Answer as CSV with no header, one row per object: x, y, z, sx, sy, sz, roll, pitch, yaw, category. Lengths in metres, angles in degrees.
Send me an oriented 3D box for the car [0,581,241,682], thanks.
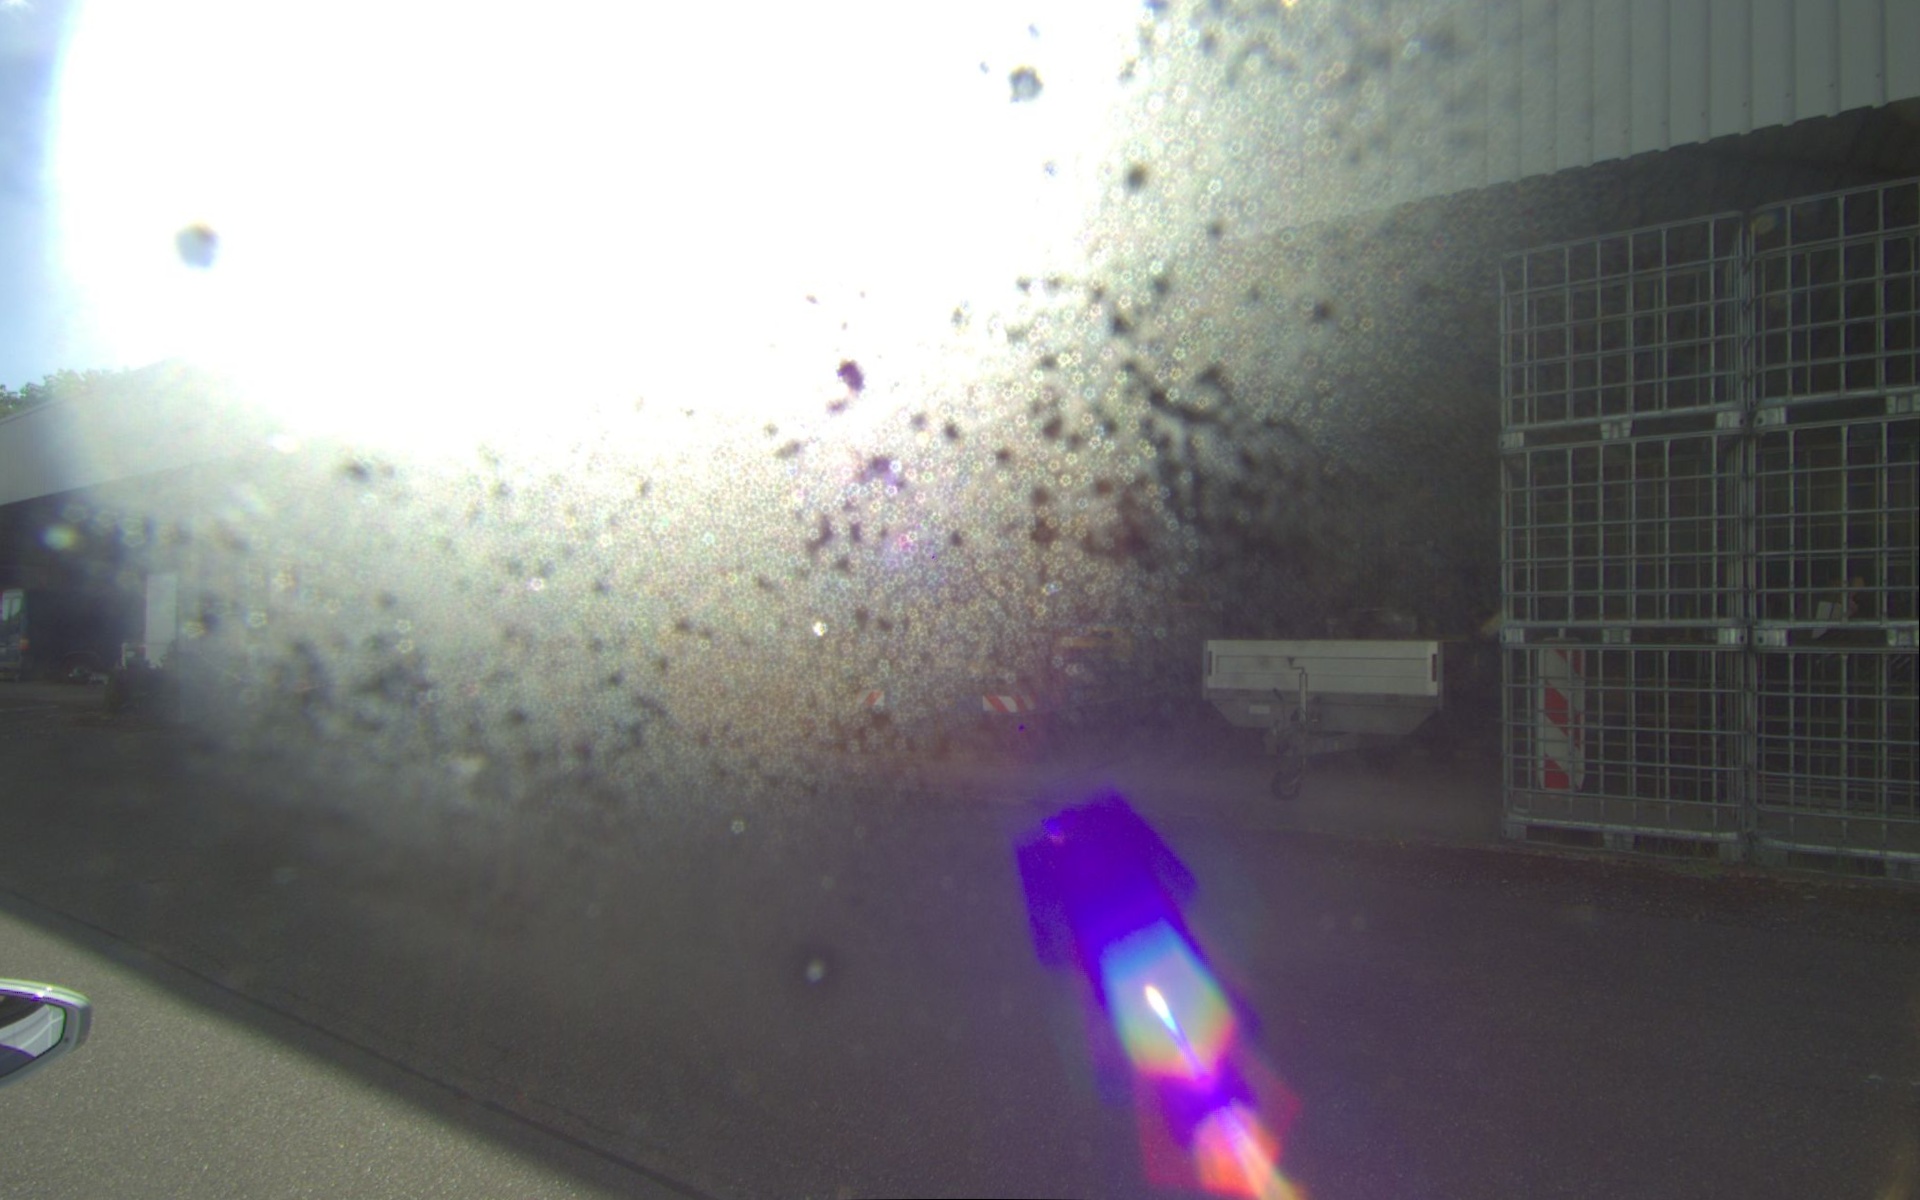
-21.376,0.880,25.640,1.890,2.337,4.425,-3,-4,33,car

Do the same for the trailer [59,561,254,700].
-15.268,0.591,19.094,1.703,2.429,2.518,-2,-2,33,trailer

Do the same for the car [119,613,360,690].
-15.884,1.180,22.295,1.661,1.543,4.031,-3,-4,33,car

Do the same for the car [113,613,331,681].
-18.223,1.200,24.911,1.661,1.543,4.031,-3,-4,33,car

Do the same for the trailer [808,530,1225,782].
1.006,0.514,11.155,2.049,2.059,5.753,0,-1,33,trailer

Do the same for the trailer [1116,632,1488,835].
3.498,0.913,9.174,2.110,1.148,5.839,-1,-1,30,trailer
